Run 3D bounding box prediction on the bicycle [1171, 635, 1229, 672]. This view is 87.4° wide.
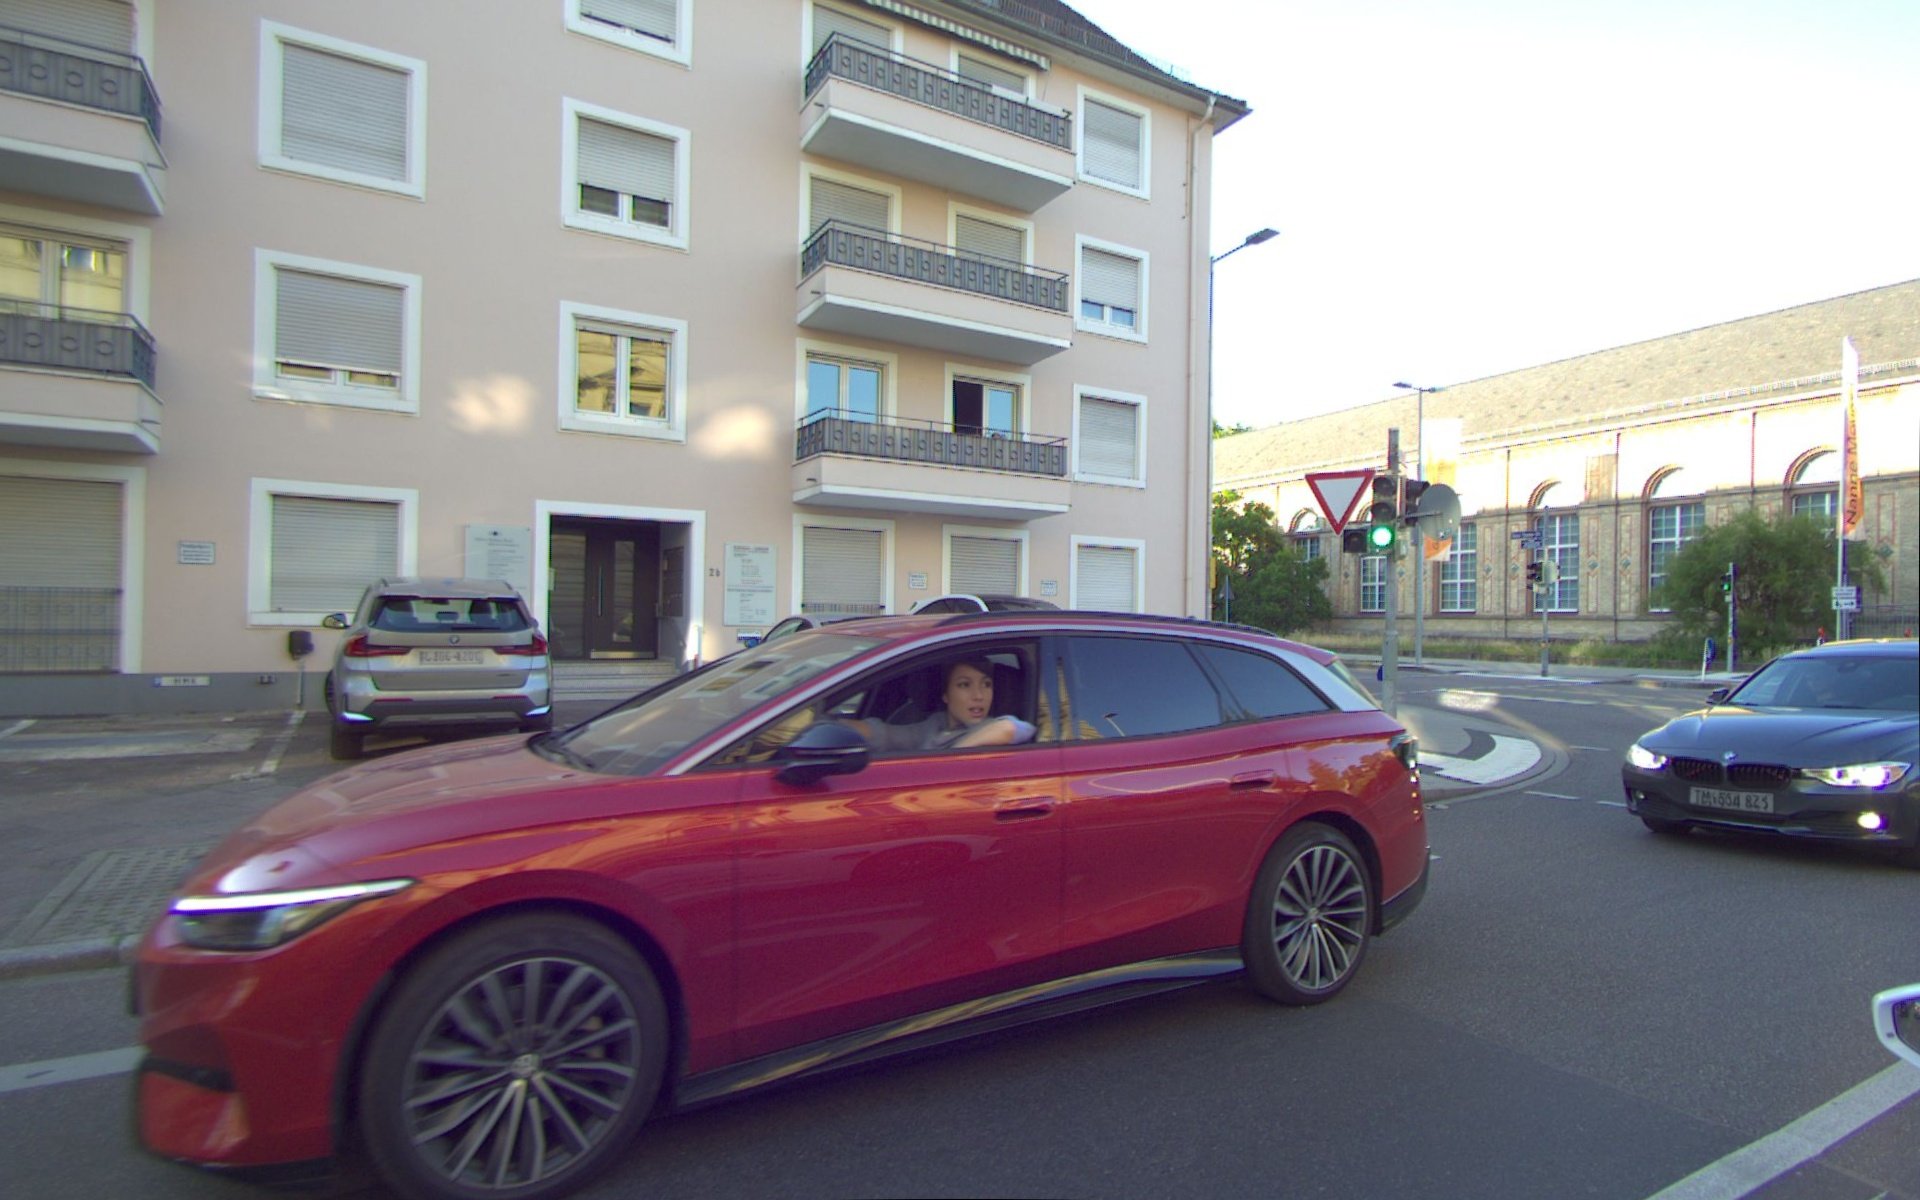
[{"bbox_3d":[7.481,1.663,31.405,0.713,1.082,1.991,1,-1,-22],"label":"bicycle"}]

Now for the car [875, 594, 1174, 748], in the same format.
[{"bbox_3d":[0.677,0.811,13.776,1.920,1.663,4.417,1,1,-31],"label":"car"}]

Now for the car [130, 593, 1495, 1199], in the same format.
[{"bbox_3d":[-0.083,0.827,4.052,4.793,1.566,1.821,1,-2,-32],"label":"car"}]

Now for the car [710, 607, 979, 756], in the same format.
[{"bbox_3d":[-1.617,0.852,12.435,1.716,1.399,4.244,1,1,-31],"label":"car"}]

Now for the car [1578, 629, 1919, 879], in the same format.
[{"bbox_3d":[6.990,0.990,7.744,4.366,1.478,1.776,2,-2,-27],"label":"car"}]

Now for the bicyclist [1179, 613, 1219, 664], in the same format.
[{"bbox_3d":[7.474,1.180,31.446,0.703,1.565,1.119,1,-1,-23],"label":"bicyclist"}]

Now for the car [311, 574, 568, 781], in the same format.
[{"bbox_3d":[-5.412,0.580,10.299,1.894,1.626,4.395,1,1,-31],"label":"car"}]
